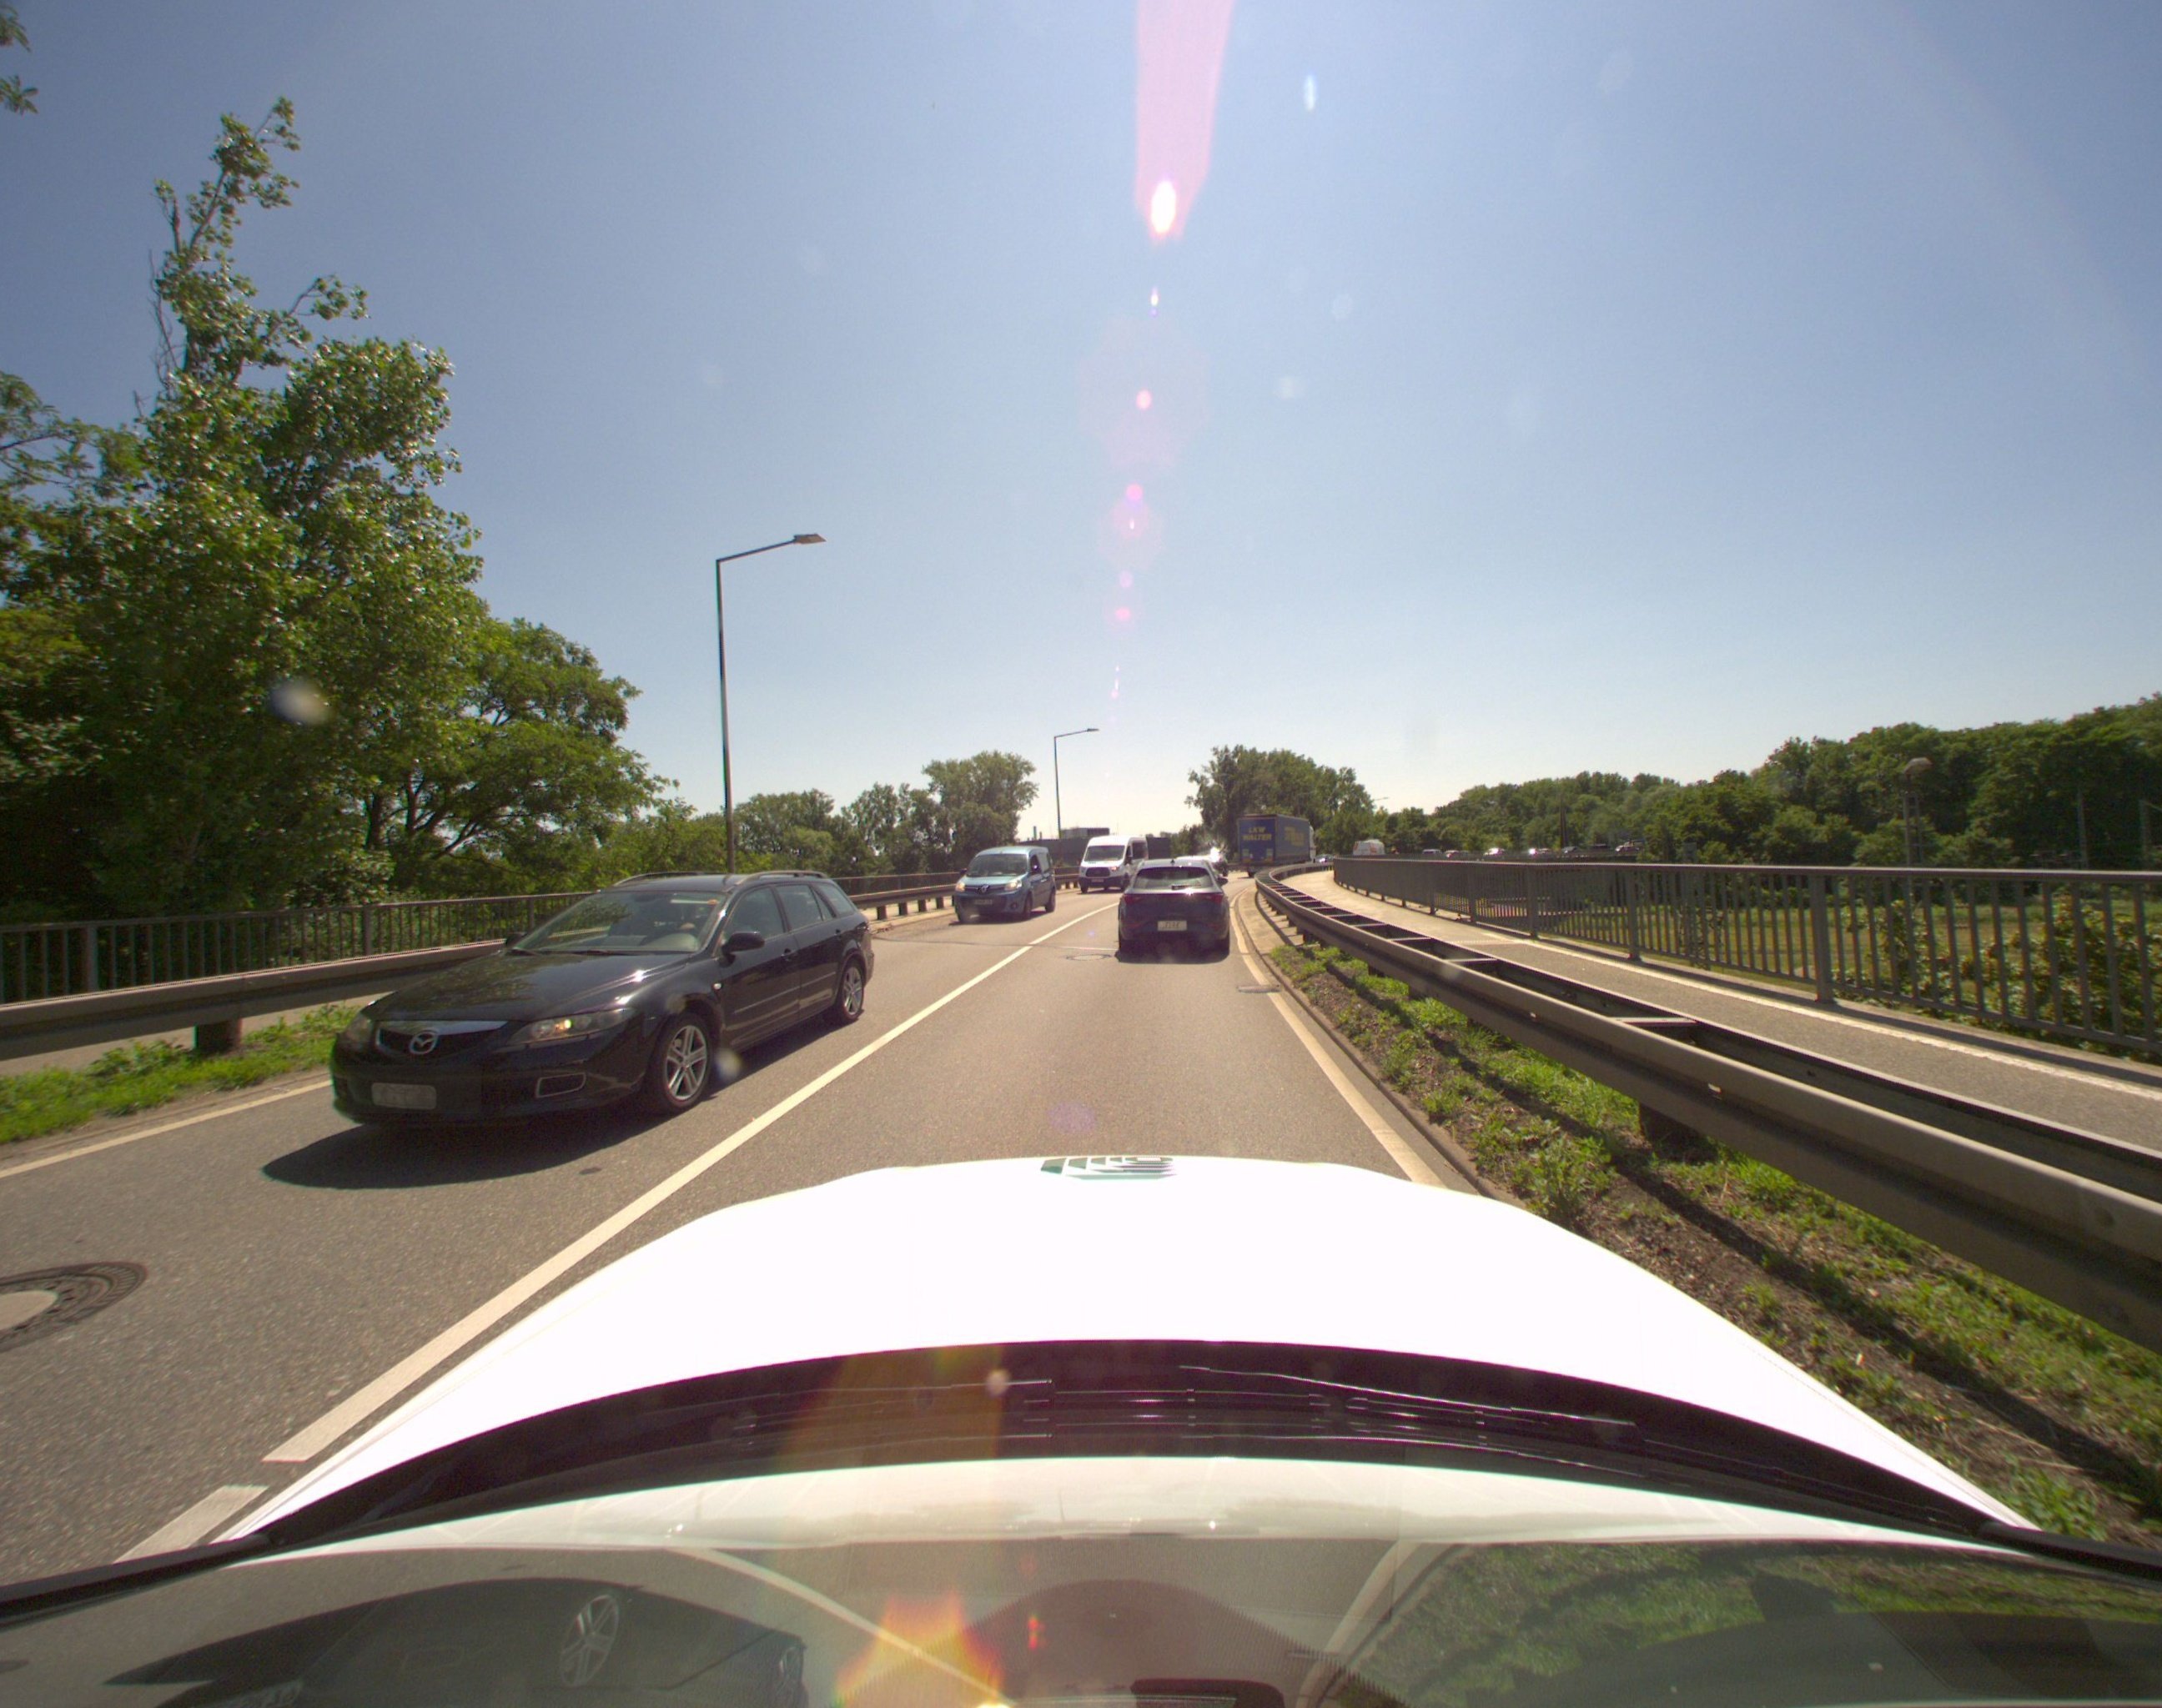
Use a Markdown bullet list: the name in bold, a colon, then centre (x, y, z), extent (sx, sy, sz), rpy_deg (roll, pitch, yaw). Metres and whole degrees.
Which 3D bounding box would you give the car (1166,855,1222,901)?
- **car**: centre (3.919, 0.761, 27.763), extent (1.582, 1.461, 3.557), rpy_deg (0, 0, 13)

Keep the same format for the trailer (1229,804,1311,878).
- **trailer**: centre (13.679, -0.789, 57.755), extent (3.106, 4.614, 13.021), rpy_deg (-1, 0, 25)

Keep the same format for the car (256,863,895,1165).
- **car**: centre (-3.092, 0.827, 6.360), extent (1.747, 1.442, 4.576), rpy_deg (-1, 0, 6)

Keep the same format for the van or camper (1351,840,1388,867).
- **van or camper**: centre (30.326, -0.092, 85.392), extent (2.181, 2.711, 5.964), rpy_deg (-2, 0, 33)

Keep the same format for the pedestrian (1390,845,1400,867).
- **pedestrian**: centre (29.304, 0.184, 75.942), extent (0.729, 1.967, 0.739), rpy_deg (-1, -1, 33)

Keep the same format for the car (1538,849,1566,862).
- **car**: centre (69.068, 0.227, 119.413), extent (4.012, 1.850, 1.876), rpy_deg (0, -1, -30)

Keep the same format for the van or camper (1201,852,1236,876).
- **van or camper**: centre (10.988, 0.793, 64.823), extent (1.977, 1.761, 4.720), rpy_deg (-3, -1, 19)

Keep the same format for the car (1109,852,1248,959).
- **car**: centre (1.470, 0.737, 13.569), extent (1.840, 1.499, 3.757), rpy_deg (-1, 0, 0)

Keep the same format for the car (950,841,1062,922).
- **car**: centre (-1.788, 0.644, 20.912), extent (1.746, 1.855, 4.287), rpy_deg (-1, 0, 10)

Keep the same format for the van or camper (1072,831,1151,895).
- **van or camper**: centre (1.468, 0.327, 36.161), extent (2.032, 2.537, 5.909), rpy_deg (-2, 0, 16)

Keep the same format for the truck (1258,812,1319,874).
- **truck**: centre (16.313, -0.760, 63.602), extent (3.141, 4.585, 7.439), rpy_deg (-1, -1, 25)

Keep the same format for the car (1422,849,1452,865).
- **car**: centre (43.167, 0.355, 98.692), extent (4.022, 1.850, 1.872), rpy_deg (0, -1, -43)
